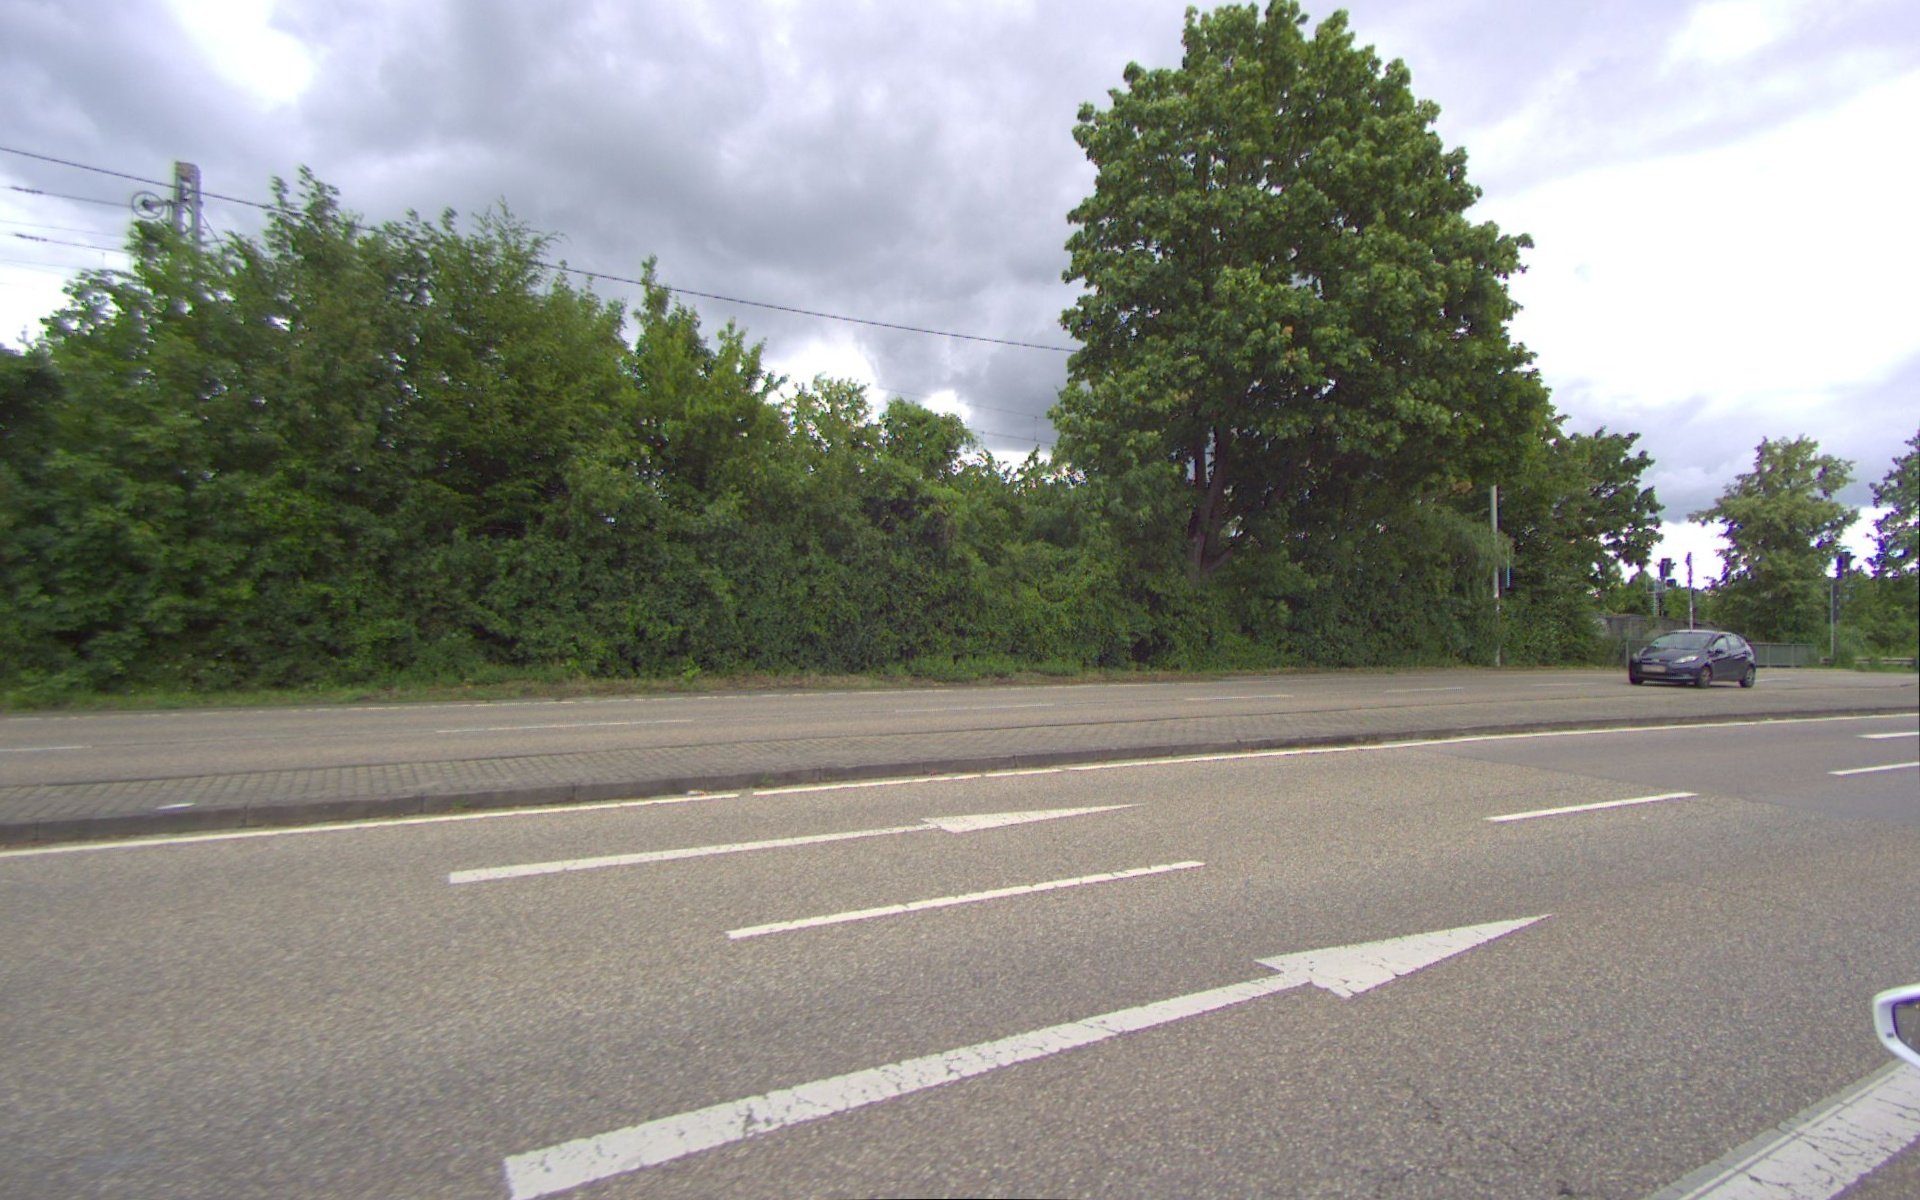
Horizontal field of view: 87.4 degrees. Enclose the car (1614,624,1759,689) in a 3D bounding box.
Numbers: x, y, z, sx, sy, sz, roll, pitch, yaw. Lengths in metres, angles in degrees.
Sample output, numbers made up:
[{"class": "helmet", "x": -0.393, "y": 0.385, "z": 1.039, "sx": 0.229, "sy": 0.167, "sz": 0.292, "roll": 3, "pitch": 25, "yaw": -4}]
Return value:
[{"class": "car", "x": 18.895, "y": 1.449, "z": 26.116, "sx": 3.442, "sy": 1.504, "sz": 1.752, "roll": 2, "pitch": 0, "yaw": -30}]
